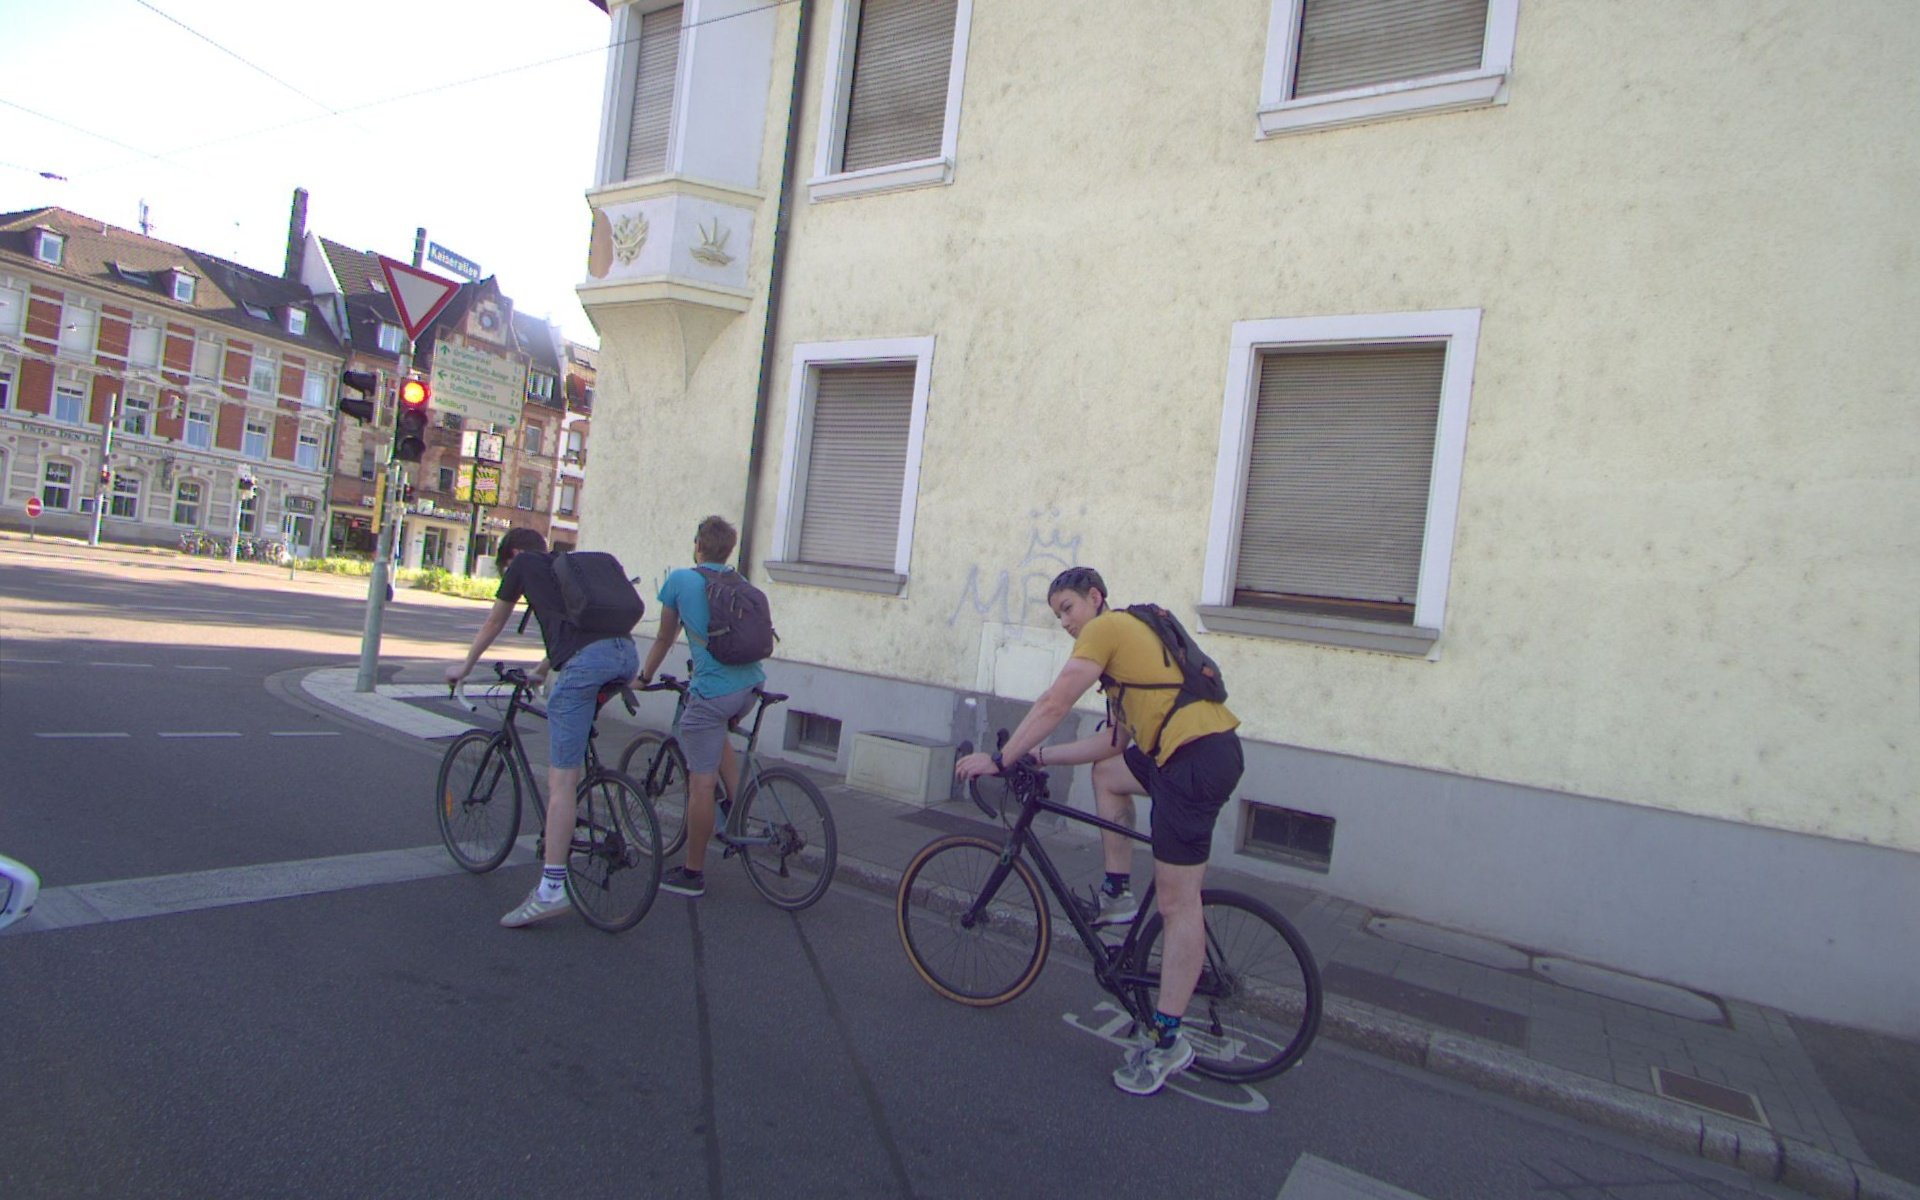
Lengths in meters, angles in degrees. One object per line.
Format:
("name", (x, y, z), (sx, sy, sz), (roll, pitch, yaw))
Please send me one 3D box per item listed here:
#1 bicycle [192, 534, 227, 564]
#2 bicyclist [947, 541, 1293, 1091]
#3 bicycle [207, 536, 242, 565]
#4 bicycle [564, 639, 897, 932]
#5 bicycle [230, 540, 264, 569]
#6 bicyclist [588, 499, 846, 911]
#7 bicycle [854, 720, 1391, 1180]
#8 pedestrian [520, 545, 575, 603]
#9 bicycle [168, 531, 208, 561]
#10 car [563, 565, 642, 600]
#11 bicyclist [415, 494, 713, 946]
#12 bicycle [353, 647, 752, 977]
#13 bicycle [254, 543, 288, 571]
("bicycle", (-34.537, -2.355, 46.284), (2.140, 1.157, 0.618), (7, 0, 37))
("bicyclist", (0.600, 0.715, 3.775), (0.939, 1.742, 0.582), (7, 0, 32))
("bicycle", (-34.202, -2.307, 46.761), (2.140, 1.157, 0.618), (7, 0, 37))
("bicycle", (-1.252, 0.884, 5.281), (1.784, 1.130, 0.519), (7, 0, 34))
("bicycle", (-33.669, -2.160, 47.513), (2.140, 1.157, 0.618), (7, 0, 37))
("bicyclist", (-1.268, 0.497, 5.246), (0.961, 1.917, 0.602), (6, -1, 34))
("bicycle", (0.553, 1.145, 3.766), (1.780, 1.101, 0.611), (7, 0, 32))
("pedestrian", (-16.558, -1.039, 40.378), (1.285, 2.068, 1.321), (7, 0, 31))
("bicycle", (-35.052, -2.445, 45.681), (2.140, 1.157, 0.806), (7, 0, 37))
("car", (-23.160, -1.123, 65.321), (2.116, 1.660, 4.340), (7, -1, 31))
("bicyclist", (-1.801, 0.470, 4.545), (1.083, 1.775, 0.562), (7, 0, 34))
("bicycle", (-1.913, 0.852, 4.591), (1.897, 1.023, 0.645), (7, 0, 34))
("bicycle", (-33.104, -2.067, 48.317), (2.102, 1.150, 0.609), (7, 0, 37))
